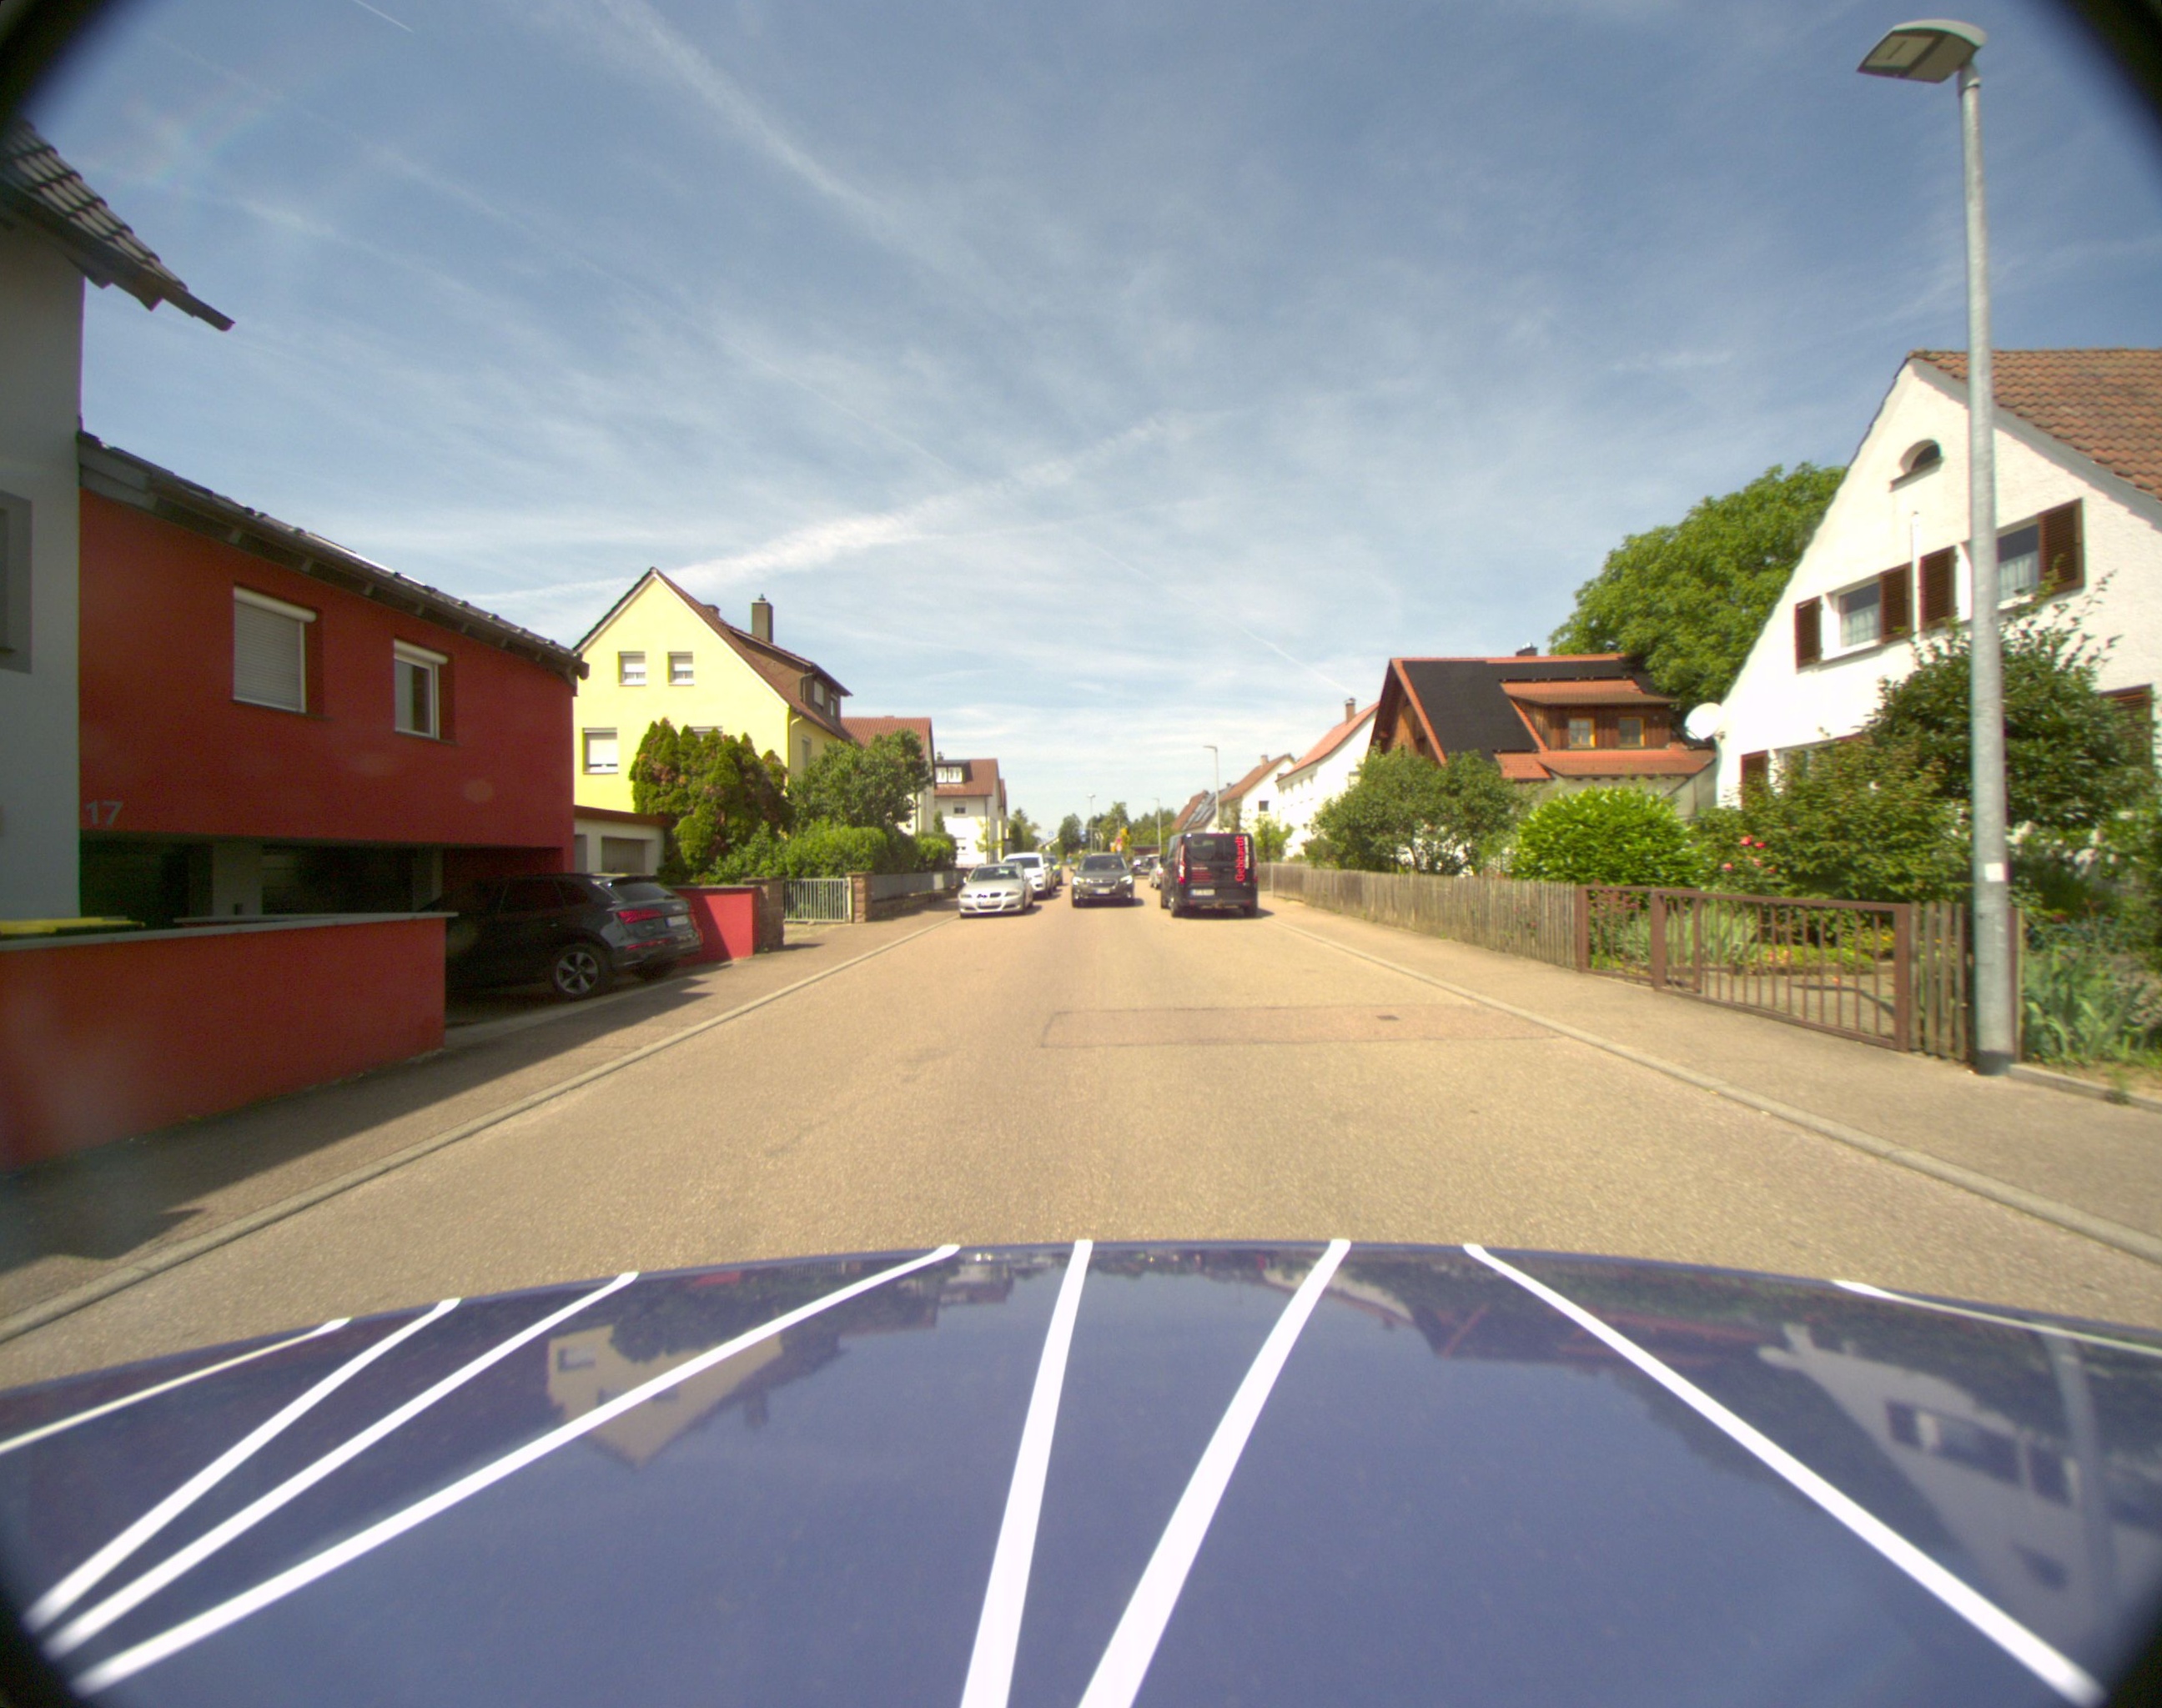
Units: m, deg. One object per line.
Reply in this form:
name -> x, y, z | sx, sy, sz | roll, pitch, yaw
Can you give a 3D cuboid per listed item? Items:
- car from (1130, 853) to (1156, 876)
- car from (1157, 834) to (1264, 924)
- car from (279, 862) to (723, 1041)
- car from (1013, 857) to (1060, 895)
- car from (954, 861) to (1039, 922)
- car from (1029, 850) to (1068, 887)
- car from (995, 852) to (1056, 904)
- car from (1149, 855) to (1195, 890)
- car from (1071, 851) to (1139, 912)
car -> 4.036, 0.667, 49.662 | 1.601, 1.450, 3.661 | -1, 0, 4
car -> 3.100, 0.543, 19.121 | 1.973, 1.940, 4.696 | -2, 0, 2
car -> -7.562, 1.210, 10.279 | 4.378, 1.659, 1.876 | -7, 0, 0
car -> -1.865, 0.901, 33.059 | 1.628, 1.460, 4.372 | -3, 0, 2
car -> -2.278, 0.975, 21.539 | 1.755, 1.412, 4.421 | -3, 0, 1
car -> -1.643, 0.712, 39.973 | 1.670, 1.739, 4.056 | -3, 0, 1
car -> -1.948, 0.810, 27.930 | 1.740, 1.652, 4.337 | -3, 0, 1
car -> 3.943, 0.760, 33.335 | 1.585, 1.434, 3.265 | -1, 0, 0
car -> 0.679, 0.759, 23.341 | 1.838, 1.638, 4.323 | -2, 0, 1
